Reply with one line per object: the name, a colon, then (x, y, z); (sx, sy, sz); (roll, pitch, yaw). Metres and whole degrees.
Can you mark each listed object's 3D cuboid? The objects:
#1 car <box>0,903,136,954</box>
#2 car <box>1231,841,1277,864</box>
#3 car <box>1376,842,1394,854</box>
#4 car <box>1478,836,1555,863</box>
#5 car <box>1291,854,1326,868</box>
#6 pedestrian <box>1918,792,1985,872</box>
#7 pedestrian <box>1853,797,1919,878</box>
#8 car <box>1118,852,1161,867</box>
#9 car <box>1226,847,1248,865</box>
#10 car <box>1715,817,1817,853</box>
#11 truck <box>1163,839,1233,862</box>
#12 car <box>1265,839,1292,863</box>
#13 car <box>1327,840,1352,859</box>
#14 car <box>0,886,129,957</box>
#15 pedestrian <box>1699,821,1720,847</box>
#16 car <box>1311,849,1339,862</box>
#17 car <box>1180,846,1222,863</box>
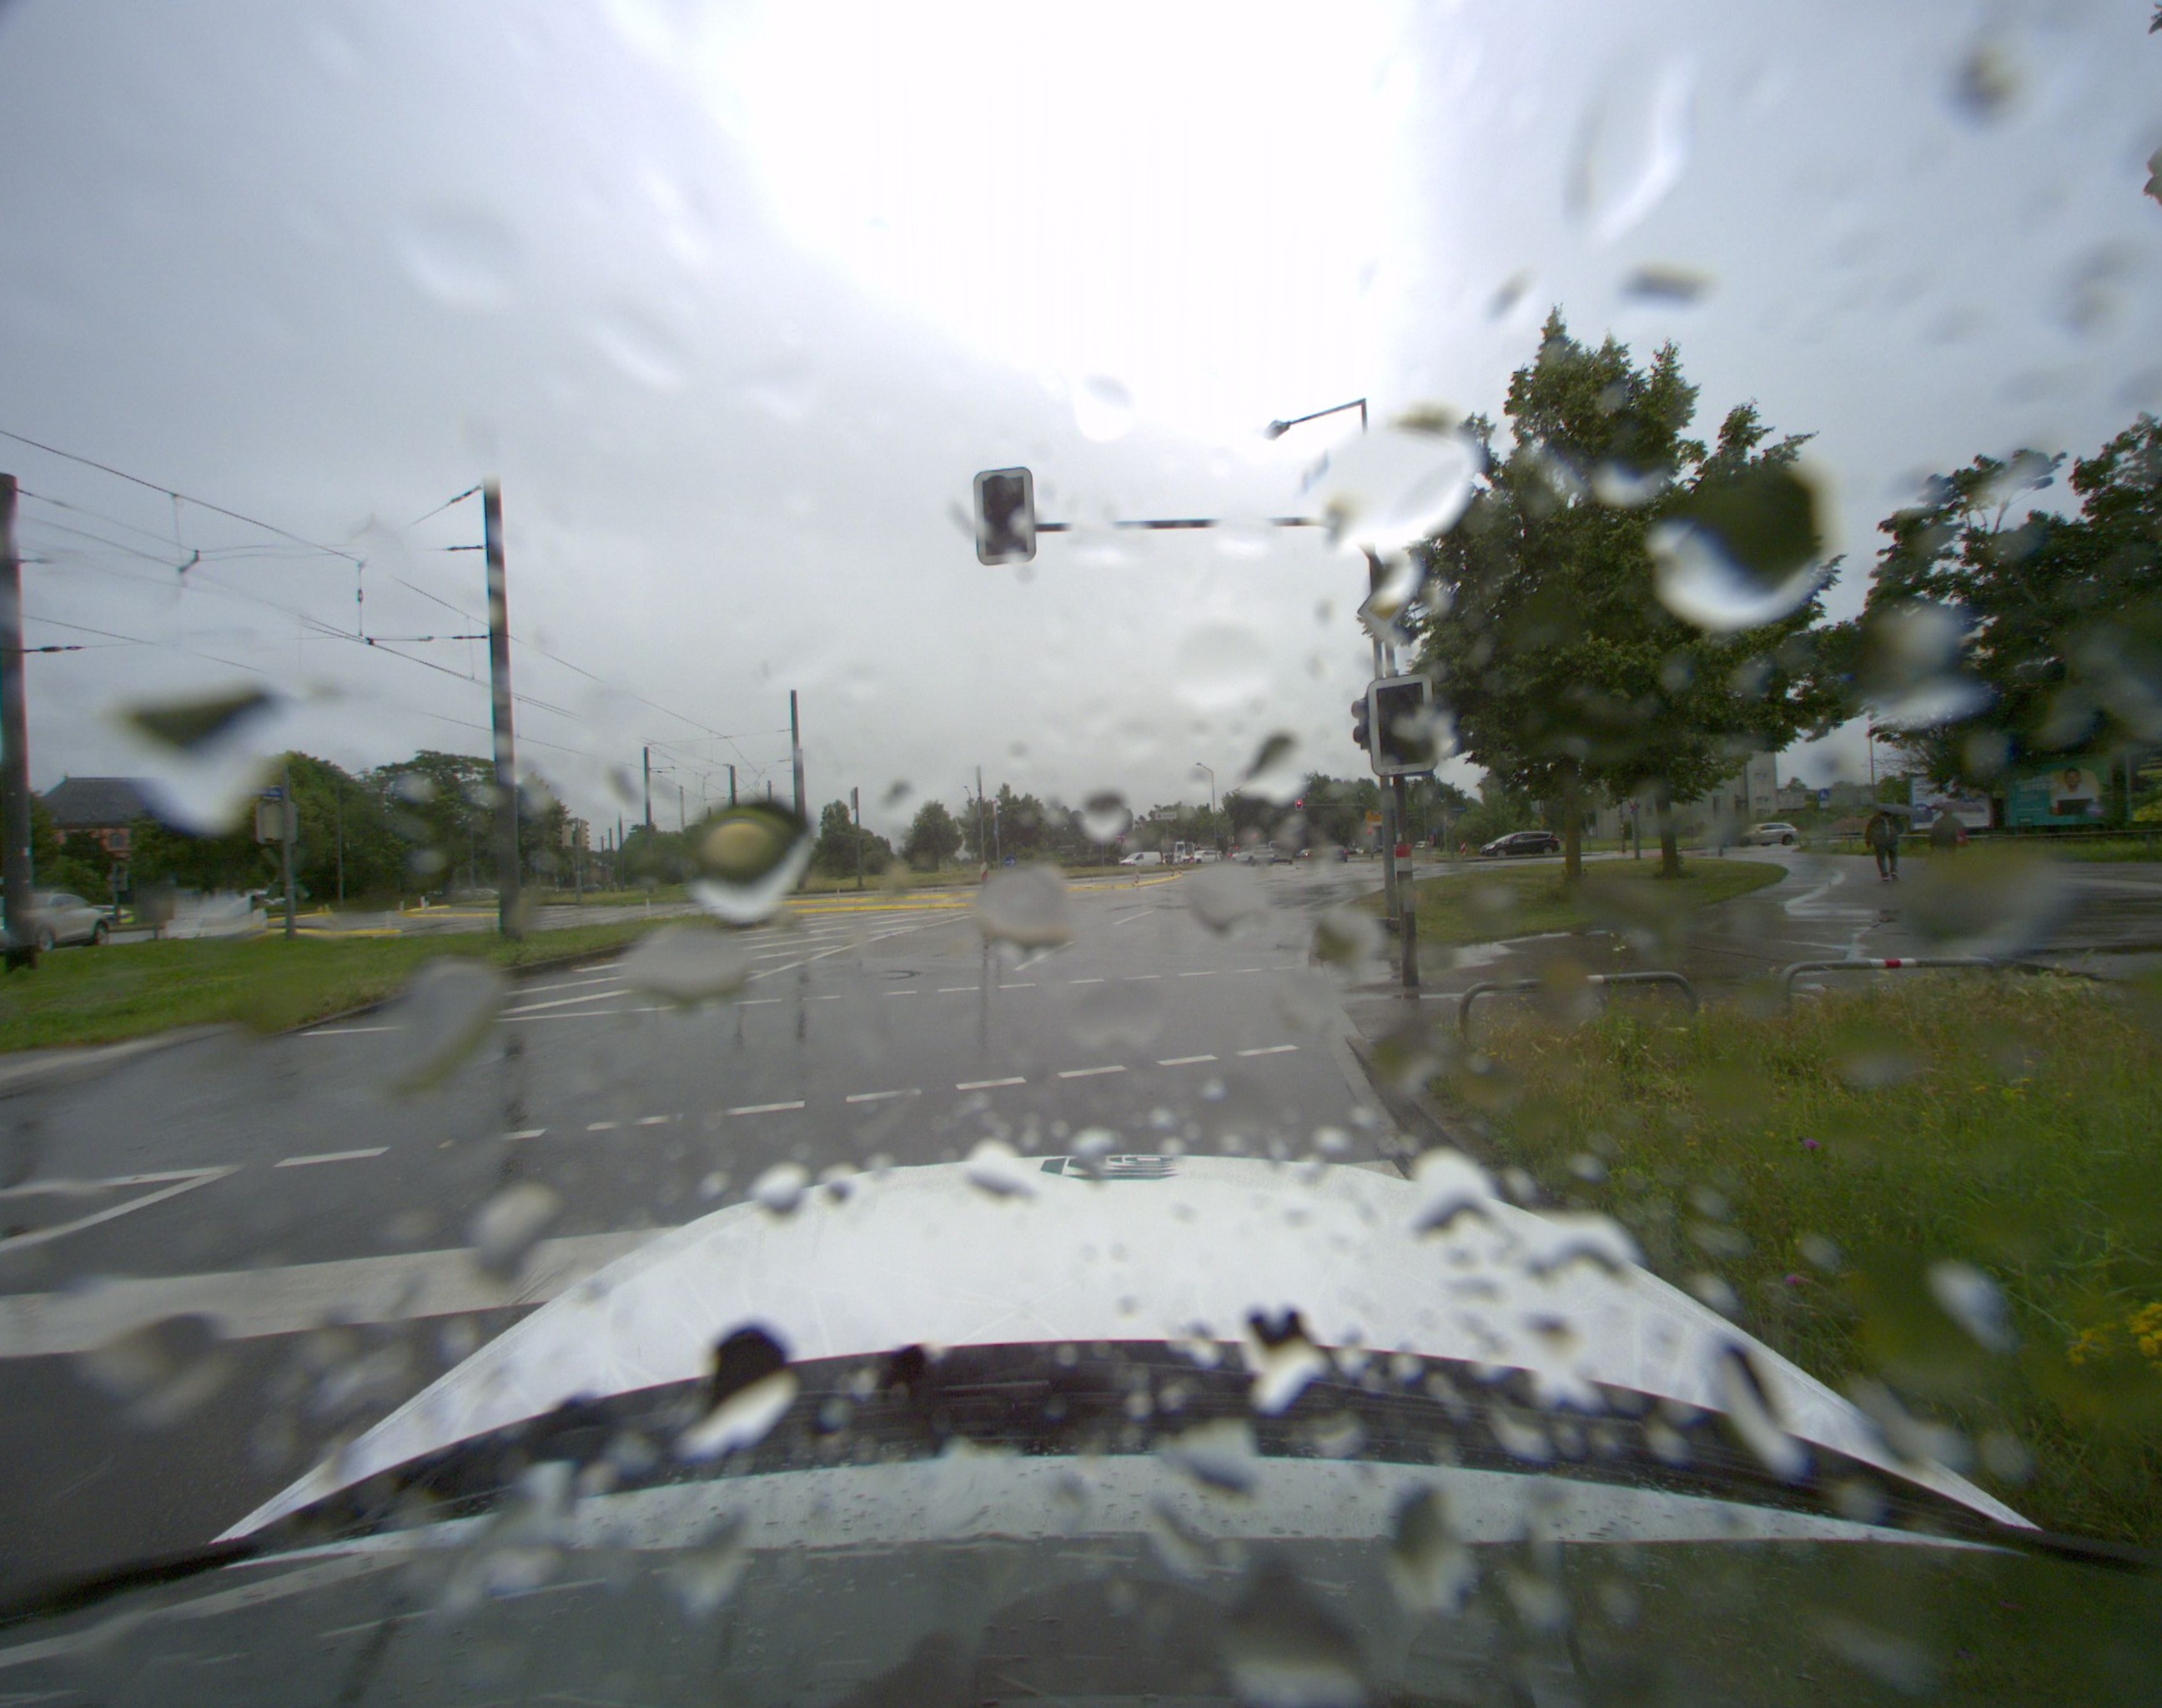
car: (-55.242, 3.958, 44.144); (1.975, 2.327, 4.870); (-1, -1, 26)
car: (13.032, -0.090, 61.491); (1.685, 1.648, 3.923); (0, -1, -17)
car: (53.332, -1.081, 142.921); (1.771, 2.014, 3.697); (-1, -1, 39)
car: (27.642, -0.277, 51.797); (3.961, 1.648, 1.794); (-1, -1, 11)
car: (29.879, 0.905, 106.859); (4.889, 1.744, 1.758); (0, -1, -38)
pedestrian: (20.035, -0.486, 18.746); (0.811, 1.784, 0.914); (0, -1, -33)
pedestrian: (18.443, -0.362, 18.665); (0.811, 1.784, 0.914); (0, -1, -33)
car: (6.318, 0.588, 87.938); (4.565, 1.492, 1.595); (0, -1, -32)
car: (13.455, 0.181, 70.499); (1.680, 1.492, 3.257); (0, -1, 7)
car: (43.172, -1.193, 51.402); (4.804, 1.810, 1.790); (-5, 0, 1)
truck: (14.030, -0.421, 97.130); (8.820, 2.711, 1.981); (0, -1, -29)
car: (16.812, -0.228, 69.390); (1.774, 2.036, 4.008); (0, -1, 7)
car: (21.398, -0.368, 67.576); (1.677, 1.492, 3.263); (-3, 0, 14)
car: (-25.796, 1.588, 19.886); (1.856, 1.486, 4.188); (0, -1, -28)
pedestrian: (44.122, -1.412, 57.203); (0.947, 1.772, 0.715); (-1, -1, 11)
car: (33.577, 0.172, 111.890); (1.975, 1.750, 4.023); (-1, -1, 45)
car: (13.057, 0.069, 88.533); (4.892, 1.744, 1.756); (0, -1, -42)
